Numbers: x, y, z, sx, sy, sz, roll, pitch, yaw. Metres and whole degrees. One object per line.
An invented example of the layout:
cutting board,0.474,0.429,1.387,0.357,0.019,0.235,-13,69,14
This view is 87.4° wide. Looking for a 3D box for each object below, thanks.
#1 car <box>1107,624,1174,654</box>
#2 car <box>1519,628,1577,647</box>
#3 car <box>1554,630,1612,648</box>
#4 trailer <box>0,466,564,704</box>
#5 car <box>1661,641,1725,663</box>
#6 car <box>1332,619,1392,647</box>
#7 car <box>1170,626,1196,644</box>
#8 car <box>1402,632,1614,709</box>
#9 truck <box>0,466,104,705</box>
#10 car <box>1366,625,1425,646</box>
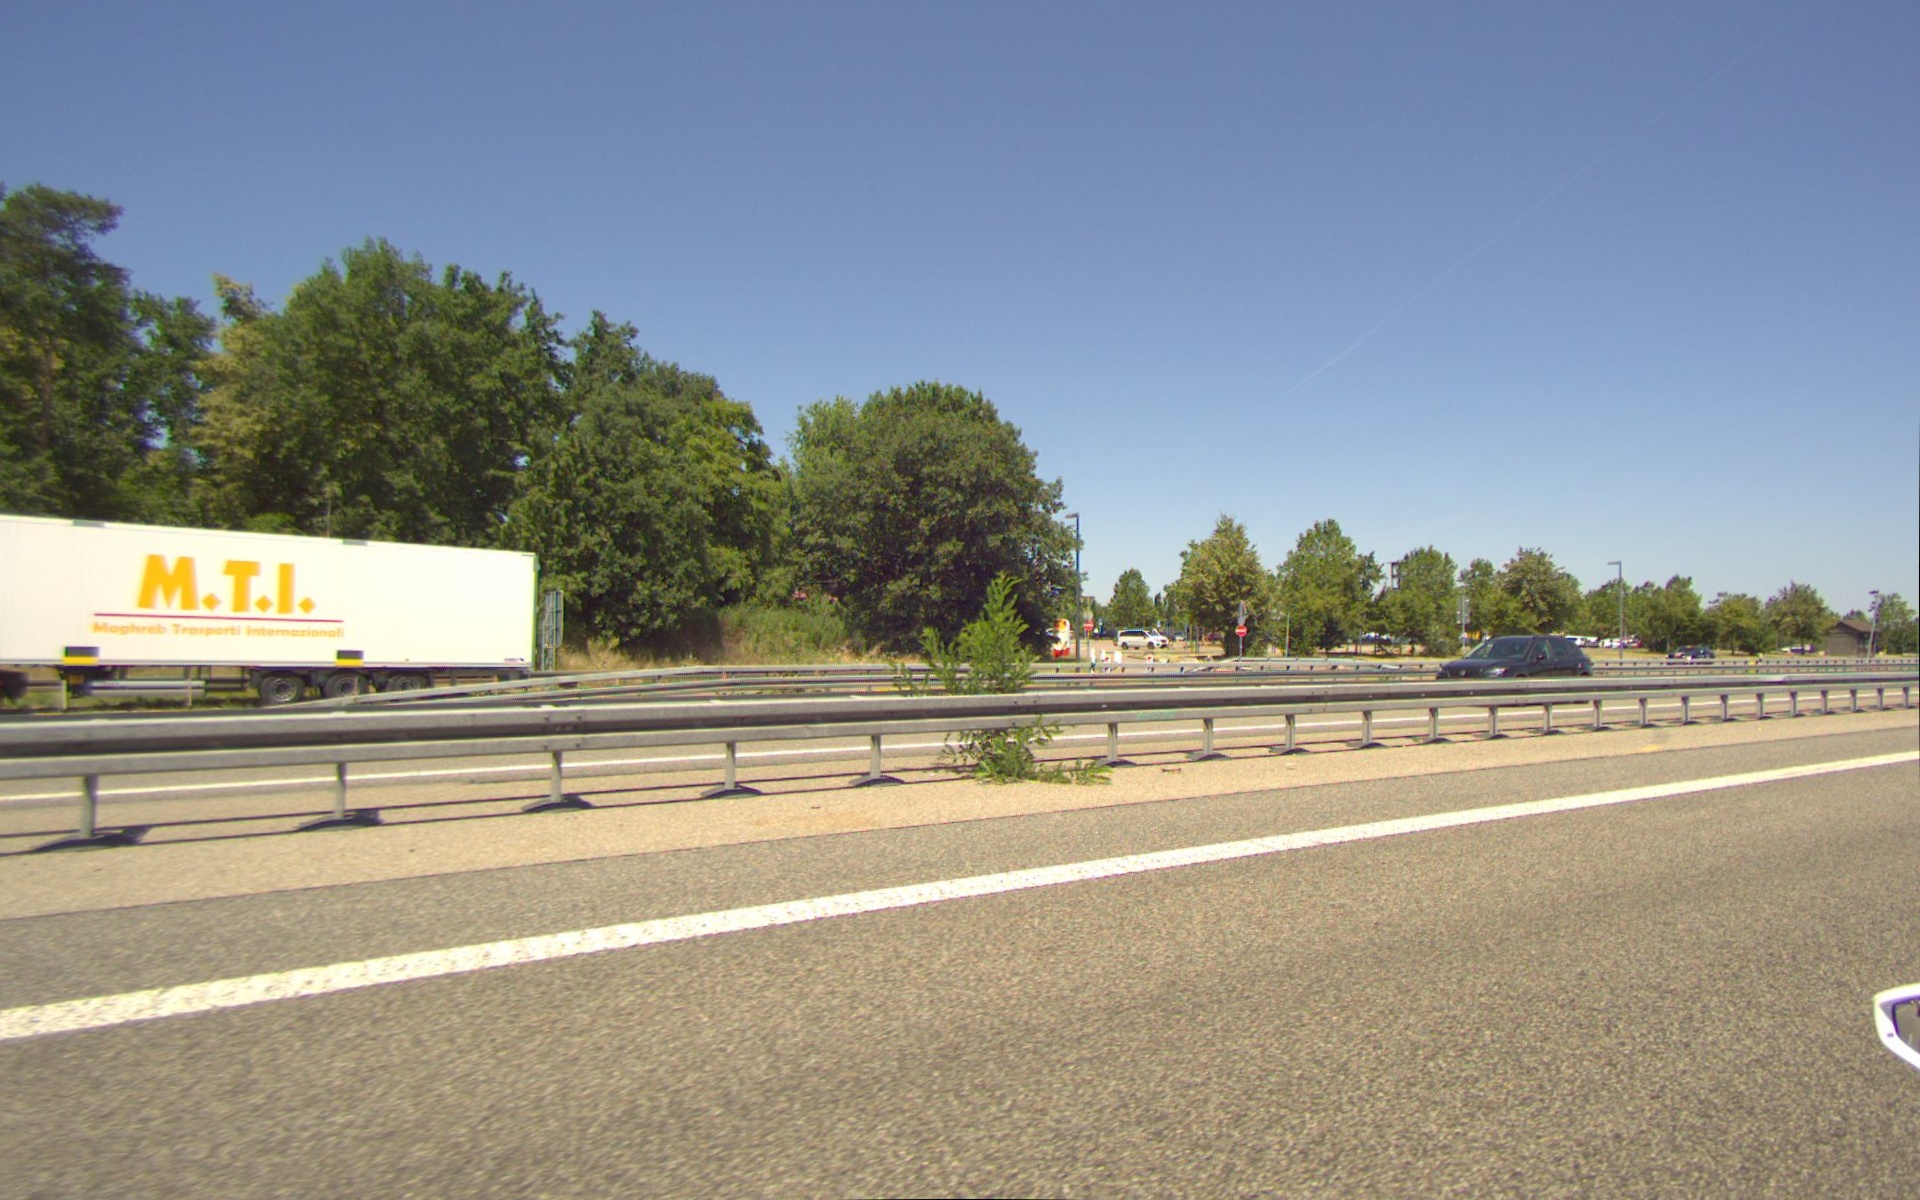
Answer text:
car,16.850,3.599,94.153,2.457,2.533,6.136,1,0,-39
car,75.447,4.815,128.924,6.086,2.152,2.476,1,0,23
car,81.846,5.115,132.044,6.086,2.152,2.476,1,0,23
trailer,-17.089,-0.128,24.421,13.634,4.890,3.051,1,-4,-36
car,53.611,3.818,73.413,4.834,1.571,2.042,1,-4,-31
car,44.586,3.629,111.369,6.086,2.786,2.476,1,0,23
car,28.042,4.372,126.381,2.428,2.017,5.246,1,0,4
car,12.433,1.552,22.718,4.834,1.571,2.042,1,-4,-31
truck,-22.529,-0.263,20.282,7.641,4.890,3.051,1,-4,-36
car,49.632,4.067,114.621,6.086,2.152,2.476,1,0,23
